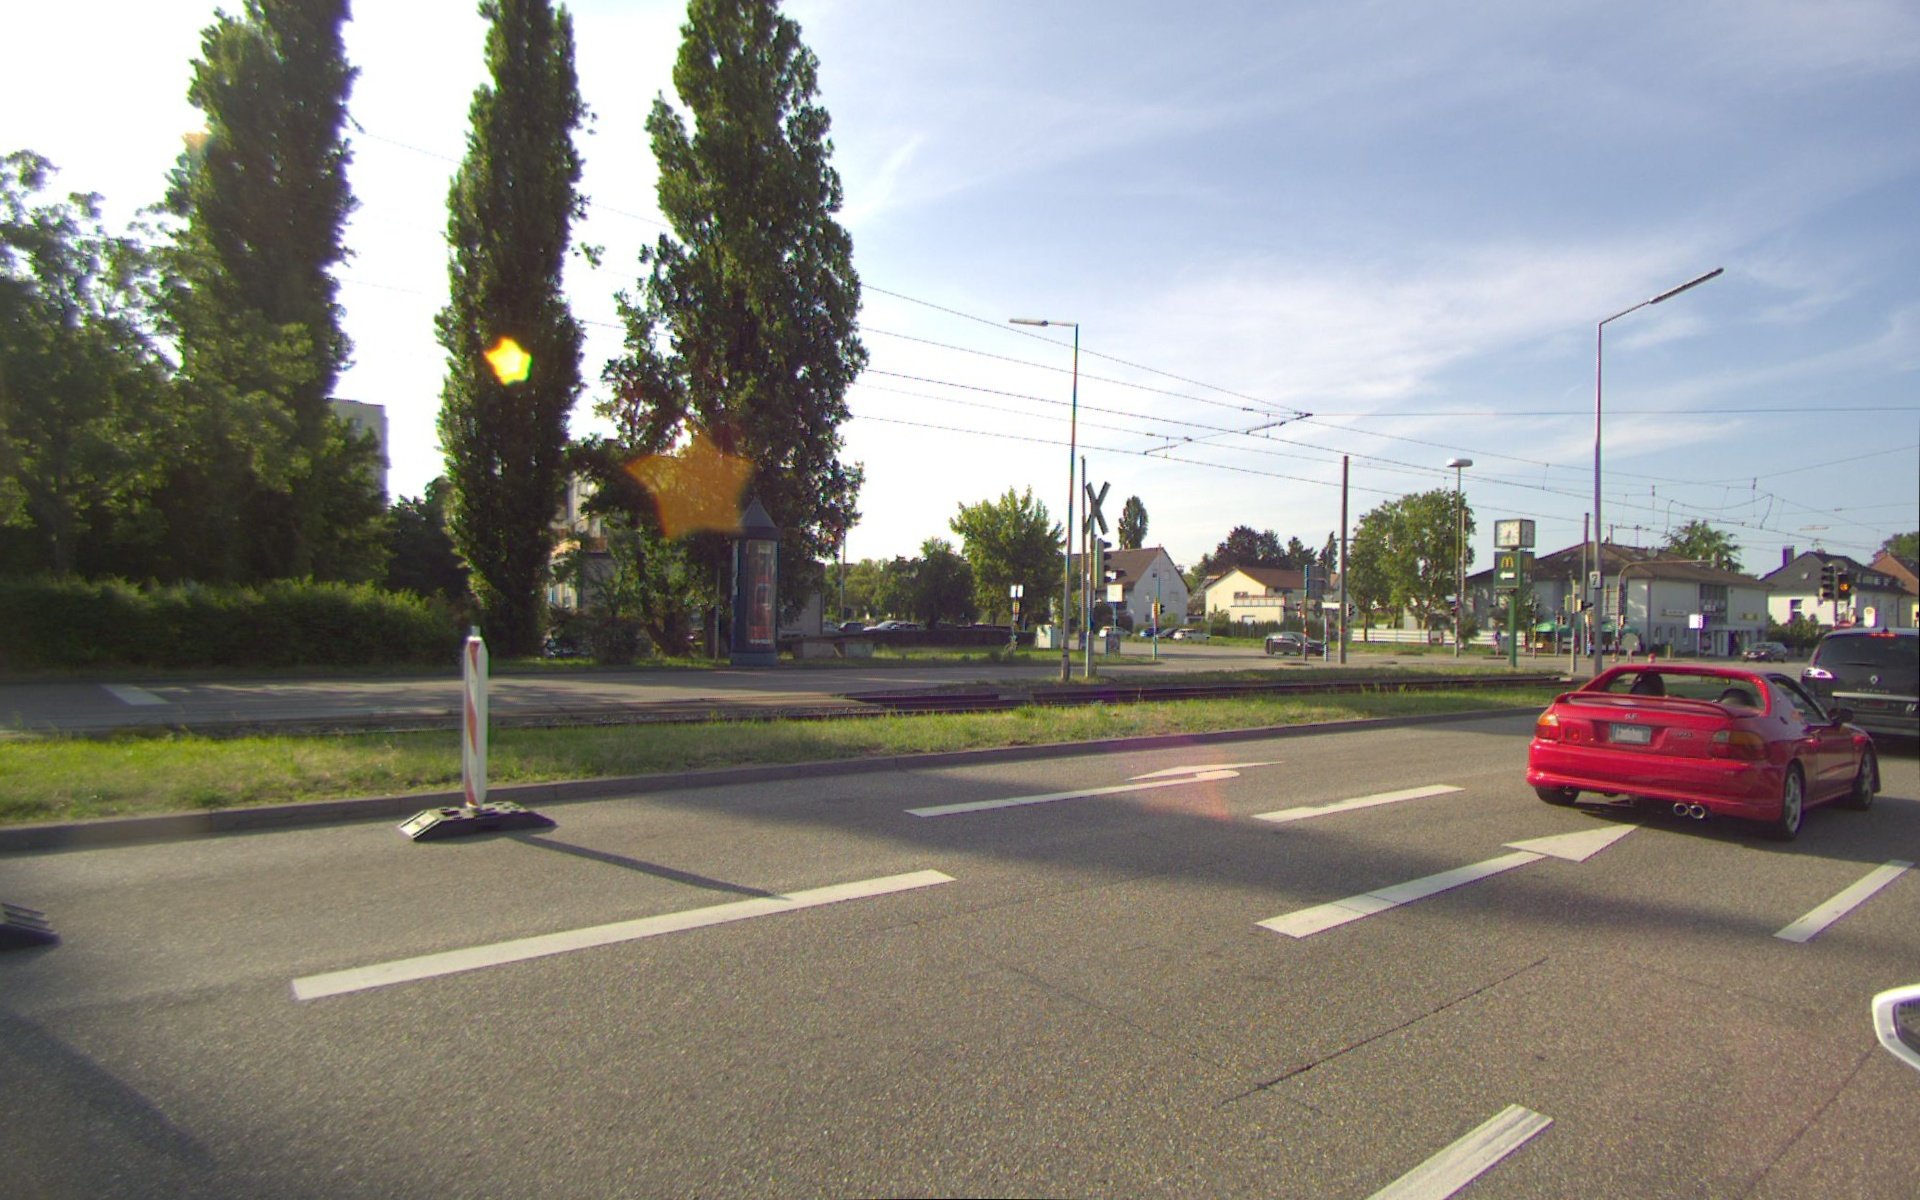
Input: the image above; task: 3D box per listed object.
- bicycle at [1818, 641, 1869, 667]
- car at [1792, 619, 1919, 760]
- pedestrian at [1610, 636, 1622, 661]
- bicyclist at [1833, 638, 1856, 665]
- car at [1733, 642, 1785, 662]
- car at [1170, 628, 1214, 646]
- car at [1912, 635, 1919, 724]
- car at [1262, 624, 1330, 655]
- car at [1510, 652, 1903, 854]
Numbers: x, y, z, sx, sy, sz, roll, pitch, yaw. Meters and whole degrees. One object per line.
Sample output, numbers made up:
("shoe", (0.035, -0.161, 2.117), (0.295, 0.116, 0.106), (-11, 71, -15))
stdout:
("bicycle", (49.555, 3.019, 56.353), (1.101, 1.365, 2.053), (3, -1, -44))
("car", (13.061, 1.154, 13.800), (4.049, 1.693, 1.749), (2, -1, -39))
("pedestrian", (43.307, 3.224, 66.296), (0.534, 1.620, 0.508), (2, -1, -36))
("bicyclist", (49.587, 2.863, 56.315), (1.129, 1.450, 0.875), (3, -1, -45))
("car", (58.117, 3.771, 73.065), (4.030, 1.363, 1.655), (3, -2, -30))
("car", (24.170, 3.837, 104.715), (4.169, 1.706, 1.985), (3, -1, -29))
("car", (18.883, 1.441, 18.077), (4.508, 1.528, 1.688), (2, -1, -35))
("car", (21.109, 2.469, 63.228), (1.504, 1.816, 3.963), (2, -1, -33))
("car", (6.461, 1.115, 8.564), (3.812, 1.222, 1.718), (2, 0, -38))
